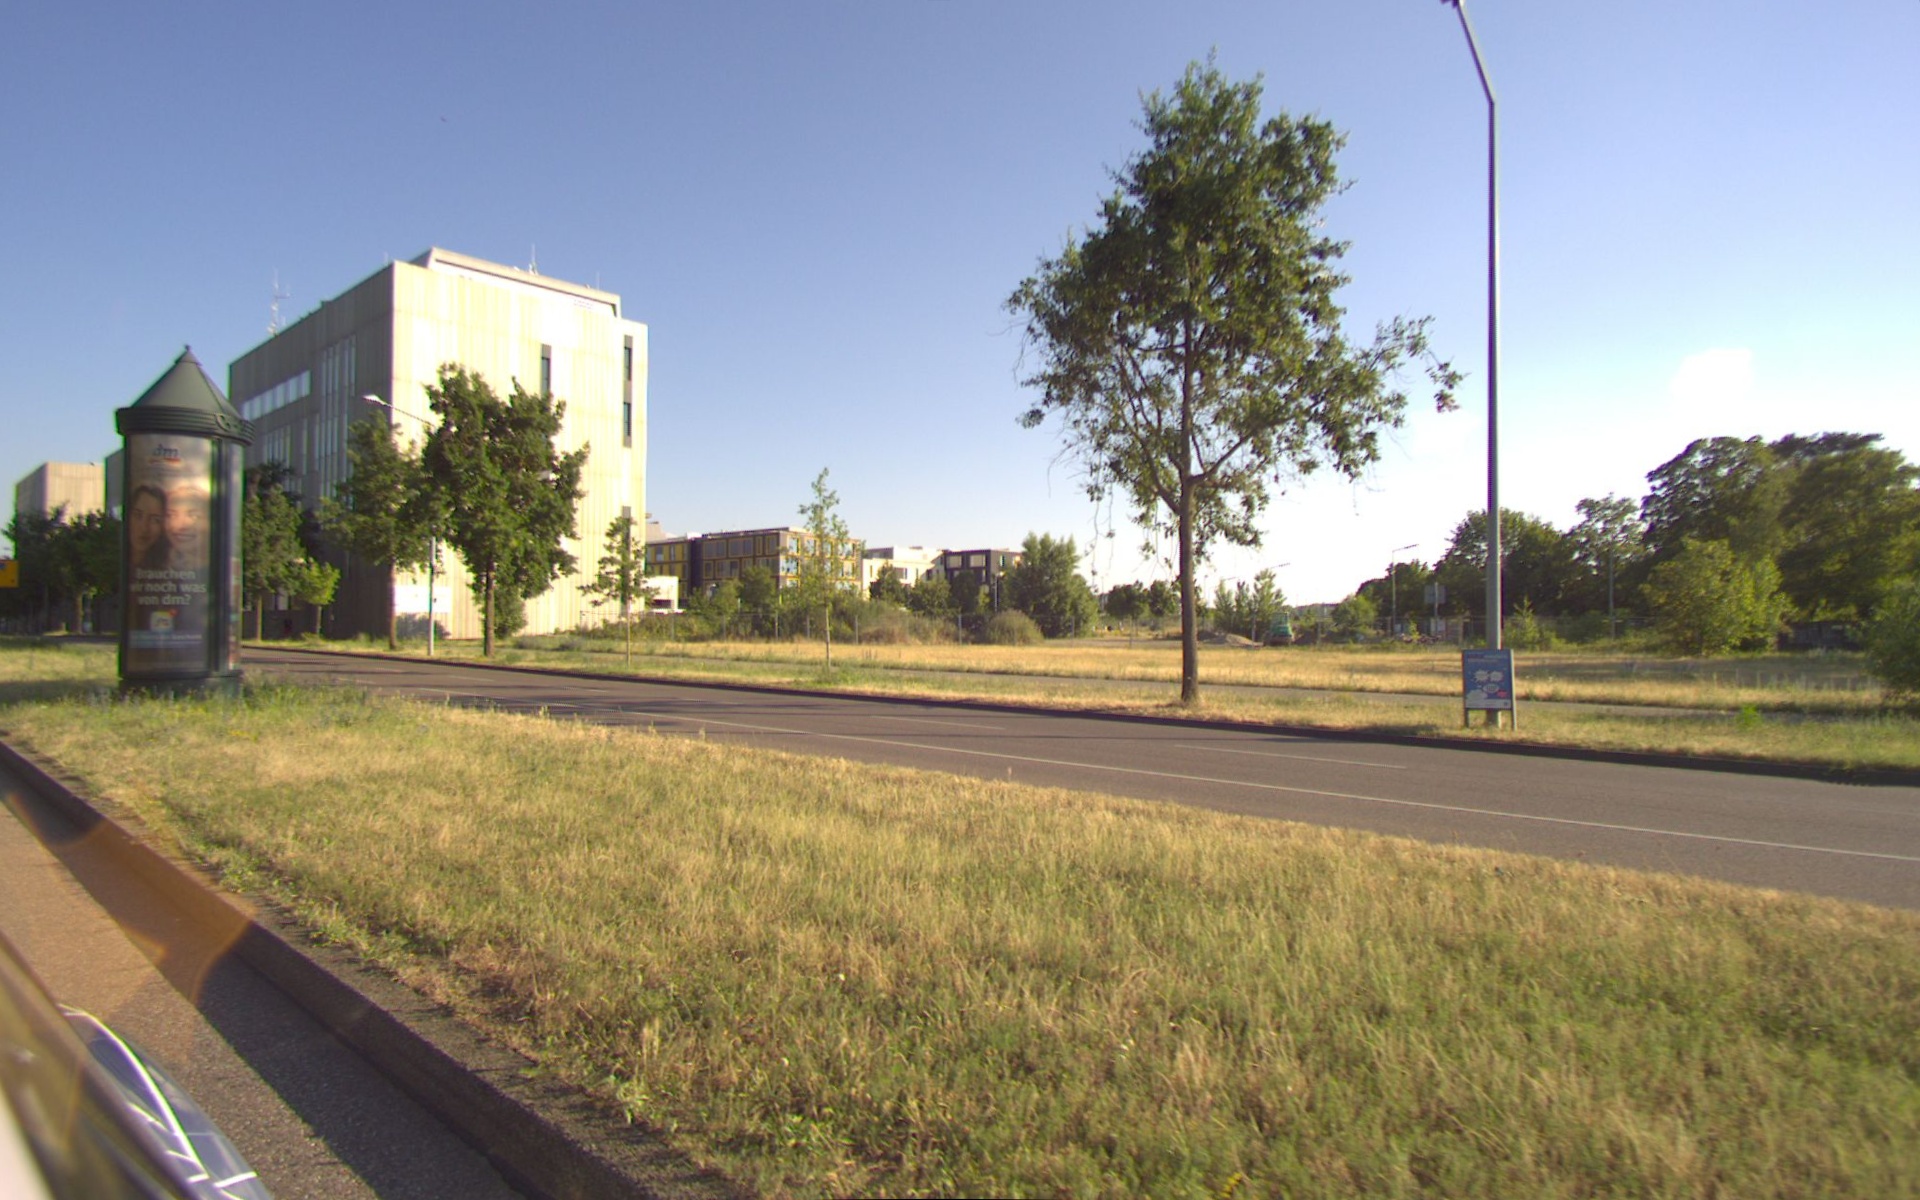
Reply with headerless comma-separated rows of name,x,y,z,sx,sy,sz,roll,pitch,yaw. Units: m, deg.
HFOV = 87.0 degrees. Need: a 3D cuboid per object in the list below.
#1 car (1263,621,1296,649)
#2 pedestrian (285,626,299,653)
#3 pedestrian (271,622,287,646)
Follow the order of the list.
car,23.760,2.618,75.455,1.980,2.029,3.865,0,-2,12
pedestrian,-46.980,2.761,71.169,0.716,1.855,0.626,-2,-2,43
pedestrian,-47.519,2.367,70.617,0.909,1.614,0.767,-2,-2,43
